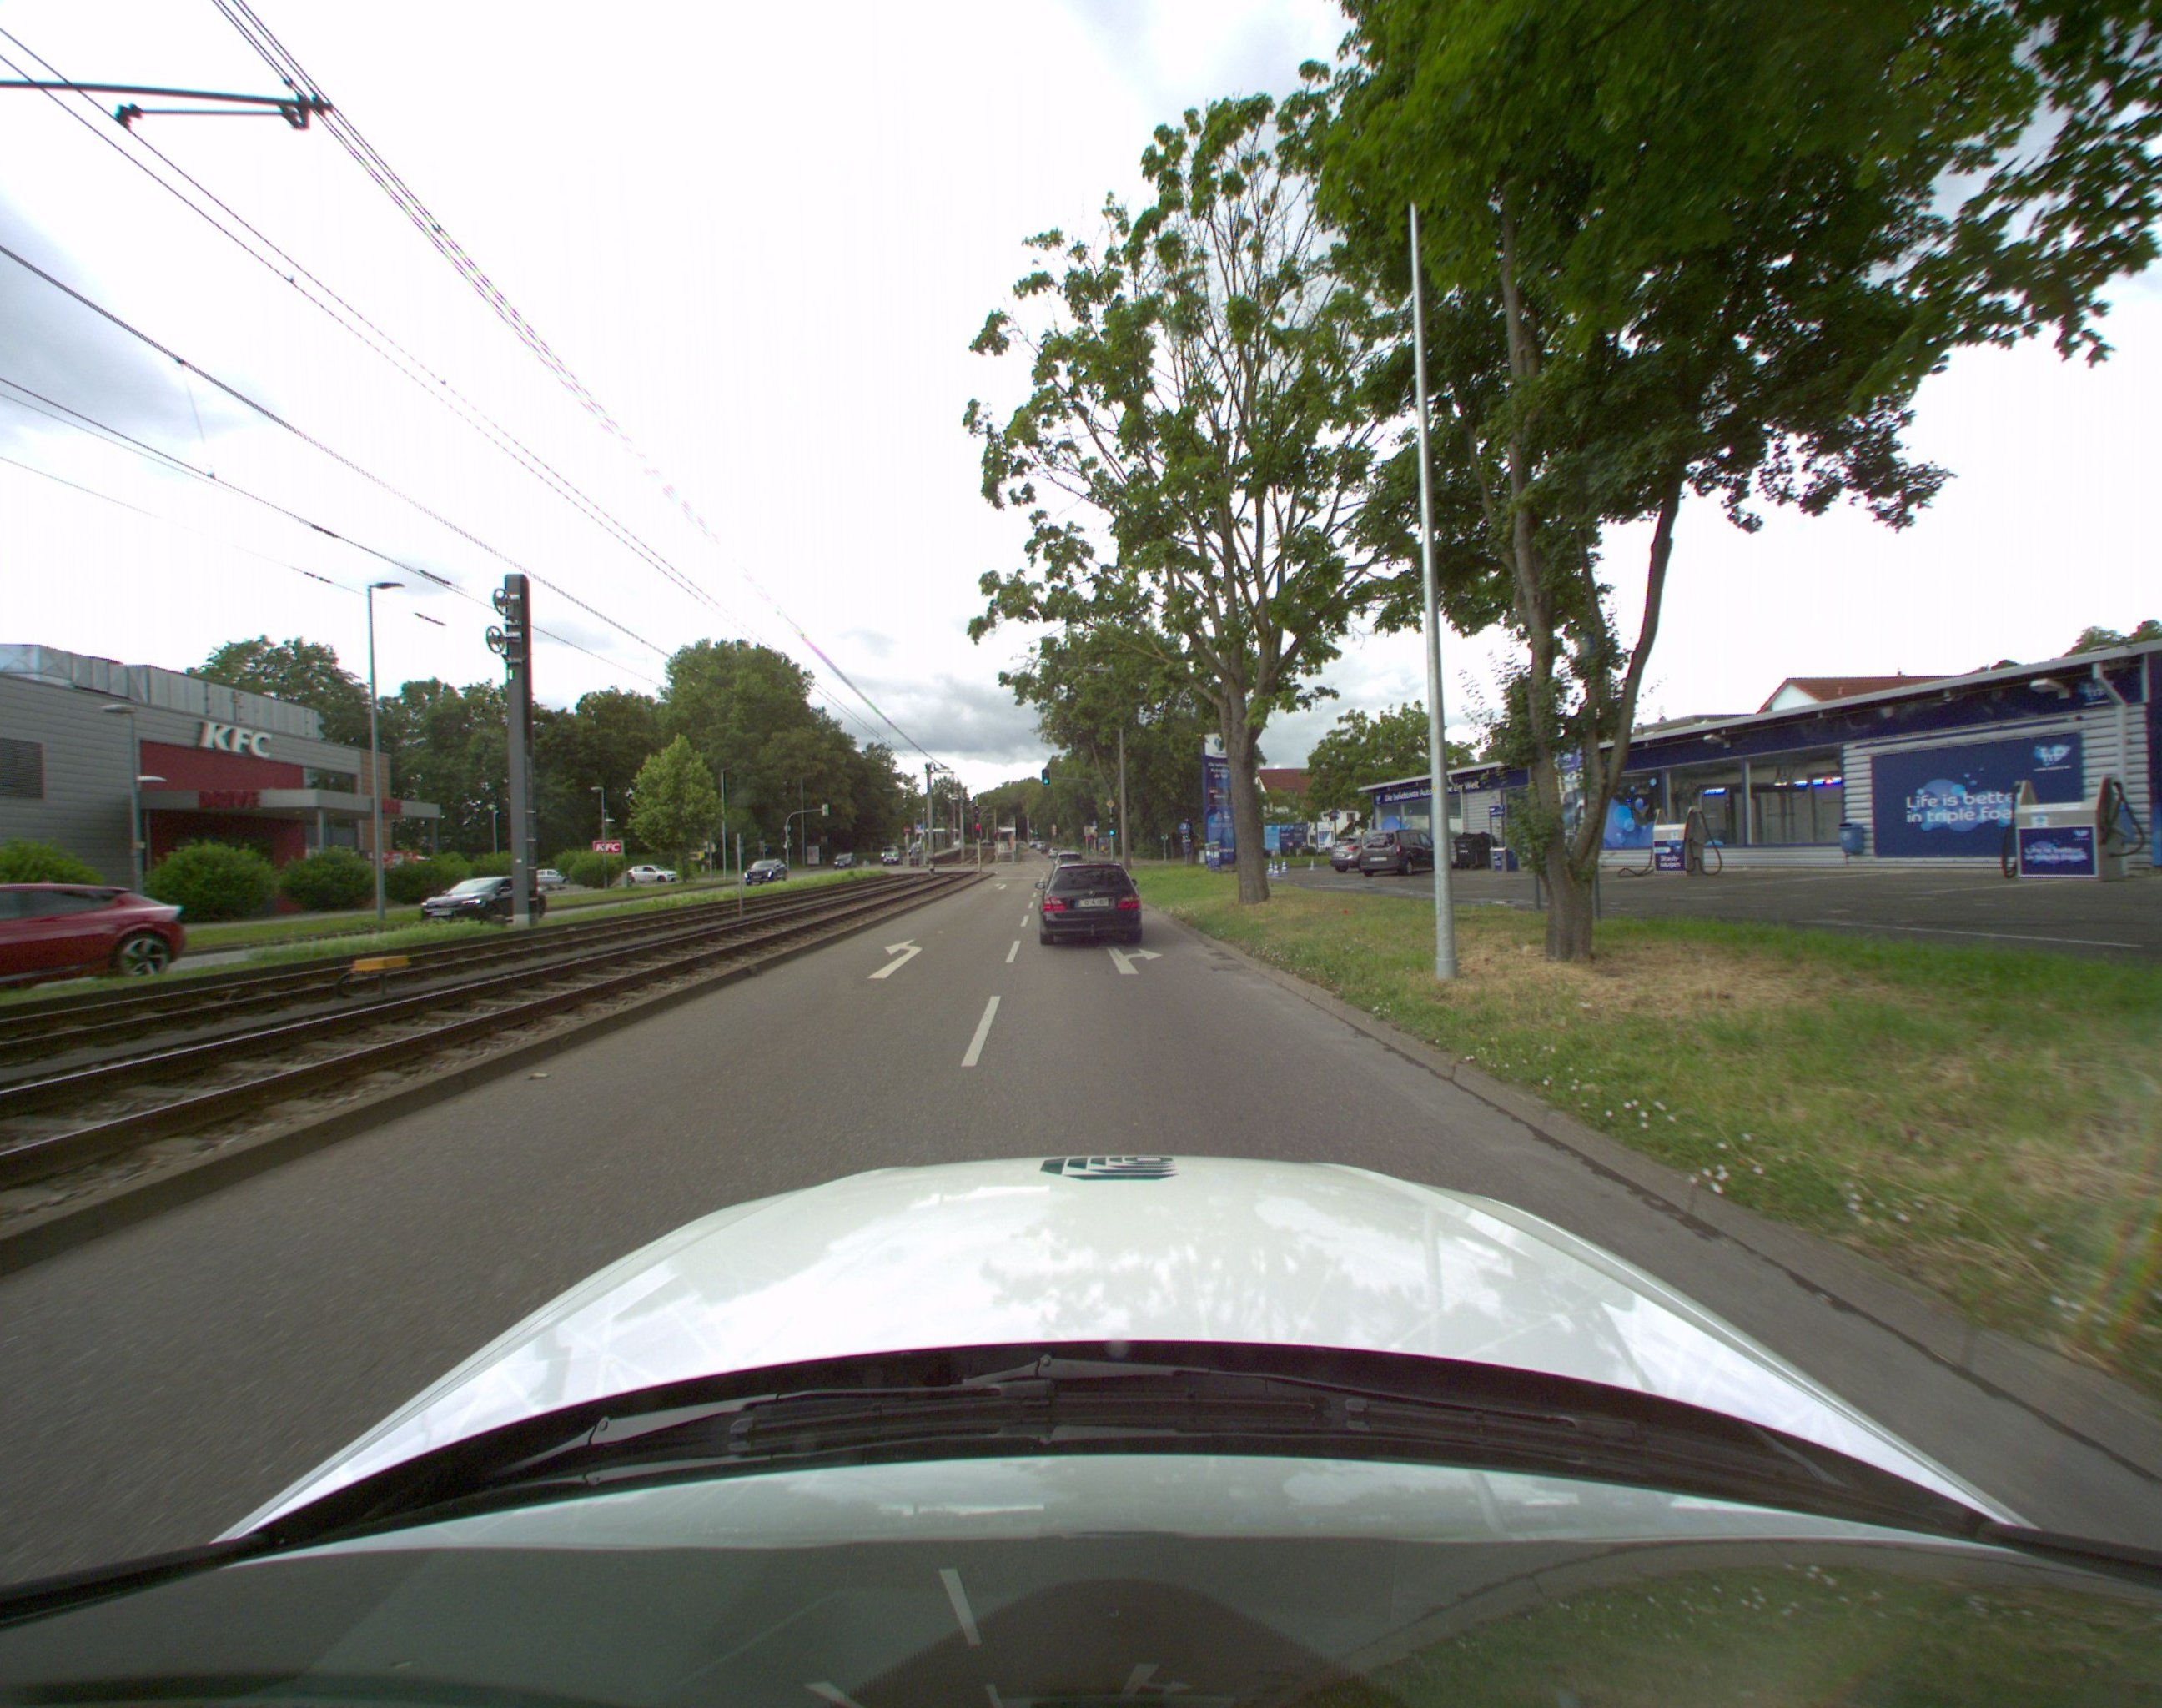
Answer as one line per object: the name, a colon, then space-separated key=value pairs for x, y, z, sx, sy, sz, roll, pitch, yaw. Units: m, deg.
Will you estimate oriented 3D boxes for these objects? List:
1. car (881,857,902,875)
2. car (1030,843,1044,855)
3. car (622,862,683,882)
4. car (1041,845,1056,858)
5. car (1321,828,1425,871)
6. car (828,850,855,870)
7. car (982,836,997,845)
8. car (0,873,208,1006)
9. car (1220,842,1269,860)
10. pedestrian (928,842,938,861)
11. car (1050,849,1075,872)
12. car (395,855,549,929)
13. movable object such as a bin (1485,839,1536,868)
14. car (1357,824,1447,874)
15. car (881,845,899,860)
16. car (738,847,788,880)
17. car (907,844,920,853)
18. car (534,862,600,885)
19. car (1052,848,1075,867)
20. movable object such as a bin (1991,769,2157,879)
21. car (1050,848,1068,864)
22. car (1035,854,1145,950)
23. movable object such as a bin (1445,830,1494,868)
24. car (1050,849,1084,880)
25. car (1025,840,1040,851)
car: x=-20.400 y=1.323 z=88.000 sx=1.695 sy=1.860 sz=3.992 roll=1 pitch=0 yaw=-6
car: x=-7.703 y=-0.846 z=141.327 sx=1.994 sy=2.013 sz=3.986 roll=1 pitch=0 yaw=-10
car: x=-34.354 y=1.423 z=65.398 sx=3.872 sy=1.408 sz=1.844 roll=-2 pitch=0 yaw=-5
car: x=-4.993 y=-0.421 z=123.831 sx=1.991 sy=1.966 sz=3.991 roll=1 pitch=0 yaw=-6
car: x=13.118 y=-0.210 z=36.616 sx=4.214 sy=1.697 sz=1.828 roll=-3 pitch=1 yaw=-21
car: x=-24.899 y=0.622 z=84.833 sx=1.991 sy=2.013 sz=4.097 roll=-2 pitch=0 yaw=-7
car: x=-20.249 y=-2.926 z=179.966 sx=2.004 sy=2.013 sz=3.965 roll=1 pitch=0 yaw=-27
car: x=-14.286 y=1.132 z=10.342 sx=1.781 sy=1.582 sz=4.473 roll=-3 pitch=0 yaw=-6
car: x=14.780 y=-0.245 z=73.794 sx=4.135 sy=1.526 sz=1.706 roll=-2 pitch=0 yaw=2
pedestrian: x=-17.395 y=-0.343 z=95.603 sx=0.968 sy=2.186 sz=0.975 roll=-1 pitch=0 yaw=-4
car: x=-1.358 y=0.475 z=60.938 sx=1.776 sy=1.648 sz=4.000 roll=0 pitch=0 yaw=0
car: x=-18.600 y=1.074 z=25.139 sx=1.991 sy=2.013 sz=3.991 roll=-2 pitch=0 yaw=-7
movable object such as a bin: x=15.519 y=-0.018 z=29.474 sx=1.157 sy=0.976 sz=1.186 roll=-2 pitch=0 yaw=-6
car: x=12.927 y=-0.234 z=32.656 sx=1.729 sy=1.821 sz=4.410 roll=-2 pitch=0 yaw=45
car: x=-26.185 y=-0.228 z=111.873 sx=1.993 sy=2.013 sz=4.872 roll=-2 pitch=0 yaw=-8
car: x=-21.005 y=0.597 z=53.922 sx=1.991 sy=2.013 sz=4.237 roll=-2 pitch=0 yaw=-7
car: x=-29.148 y=-0.933 z=142.029 sx=1.684 sy=1.445 sz=3.991 roll=-4 pitch=0 yaw=-6
car: x=-40.779 y=1.533 z=64.679 sx=3.981 sy=1.552 sz=1.844 roll=-2 pitch=0 yaw=-5
car: x=-1.759 y=0.341 z=82.052 sx=1.991 sy=1.918 sz=3.991 roll=1 pitch=0 yaw=-6
movable object such as a bin: x=17.640 y=-0.508 z=14.522 sx=1.157 sy=1.818 sz=1.452 roll=-2 pitch=0 yaw=-6
car: x=-2.819 y=0.257 z=103.511 sx=1.991 sy=1.893 sz=3.991 roll=1 pitch=0 yaw=-6
car: x=0.052 y=0.775 z=15.292 sx=1.778 sy=1.525 sz=3.995 roll=-1 pitch=0 yaw=-3
movable object such as a bin: x=15.518 y=-0.194 z=32.563 sx=1.157 sy=1.474 sz=1.384 roll=-2 pitch=0 yaw=-6
car: x=-0.730 y=0.540 z=45.548 sx=1.776 sy=1.648 sz=4.000 roll=0 pitch=0 yaw=0
car: x=-9.318 y=-1.631 z=156.757 sx=1.998 sy=2.013 sz=3.978 roll=1 pitch=0 yaw=-16
